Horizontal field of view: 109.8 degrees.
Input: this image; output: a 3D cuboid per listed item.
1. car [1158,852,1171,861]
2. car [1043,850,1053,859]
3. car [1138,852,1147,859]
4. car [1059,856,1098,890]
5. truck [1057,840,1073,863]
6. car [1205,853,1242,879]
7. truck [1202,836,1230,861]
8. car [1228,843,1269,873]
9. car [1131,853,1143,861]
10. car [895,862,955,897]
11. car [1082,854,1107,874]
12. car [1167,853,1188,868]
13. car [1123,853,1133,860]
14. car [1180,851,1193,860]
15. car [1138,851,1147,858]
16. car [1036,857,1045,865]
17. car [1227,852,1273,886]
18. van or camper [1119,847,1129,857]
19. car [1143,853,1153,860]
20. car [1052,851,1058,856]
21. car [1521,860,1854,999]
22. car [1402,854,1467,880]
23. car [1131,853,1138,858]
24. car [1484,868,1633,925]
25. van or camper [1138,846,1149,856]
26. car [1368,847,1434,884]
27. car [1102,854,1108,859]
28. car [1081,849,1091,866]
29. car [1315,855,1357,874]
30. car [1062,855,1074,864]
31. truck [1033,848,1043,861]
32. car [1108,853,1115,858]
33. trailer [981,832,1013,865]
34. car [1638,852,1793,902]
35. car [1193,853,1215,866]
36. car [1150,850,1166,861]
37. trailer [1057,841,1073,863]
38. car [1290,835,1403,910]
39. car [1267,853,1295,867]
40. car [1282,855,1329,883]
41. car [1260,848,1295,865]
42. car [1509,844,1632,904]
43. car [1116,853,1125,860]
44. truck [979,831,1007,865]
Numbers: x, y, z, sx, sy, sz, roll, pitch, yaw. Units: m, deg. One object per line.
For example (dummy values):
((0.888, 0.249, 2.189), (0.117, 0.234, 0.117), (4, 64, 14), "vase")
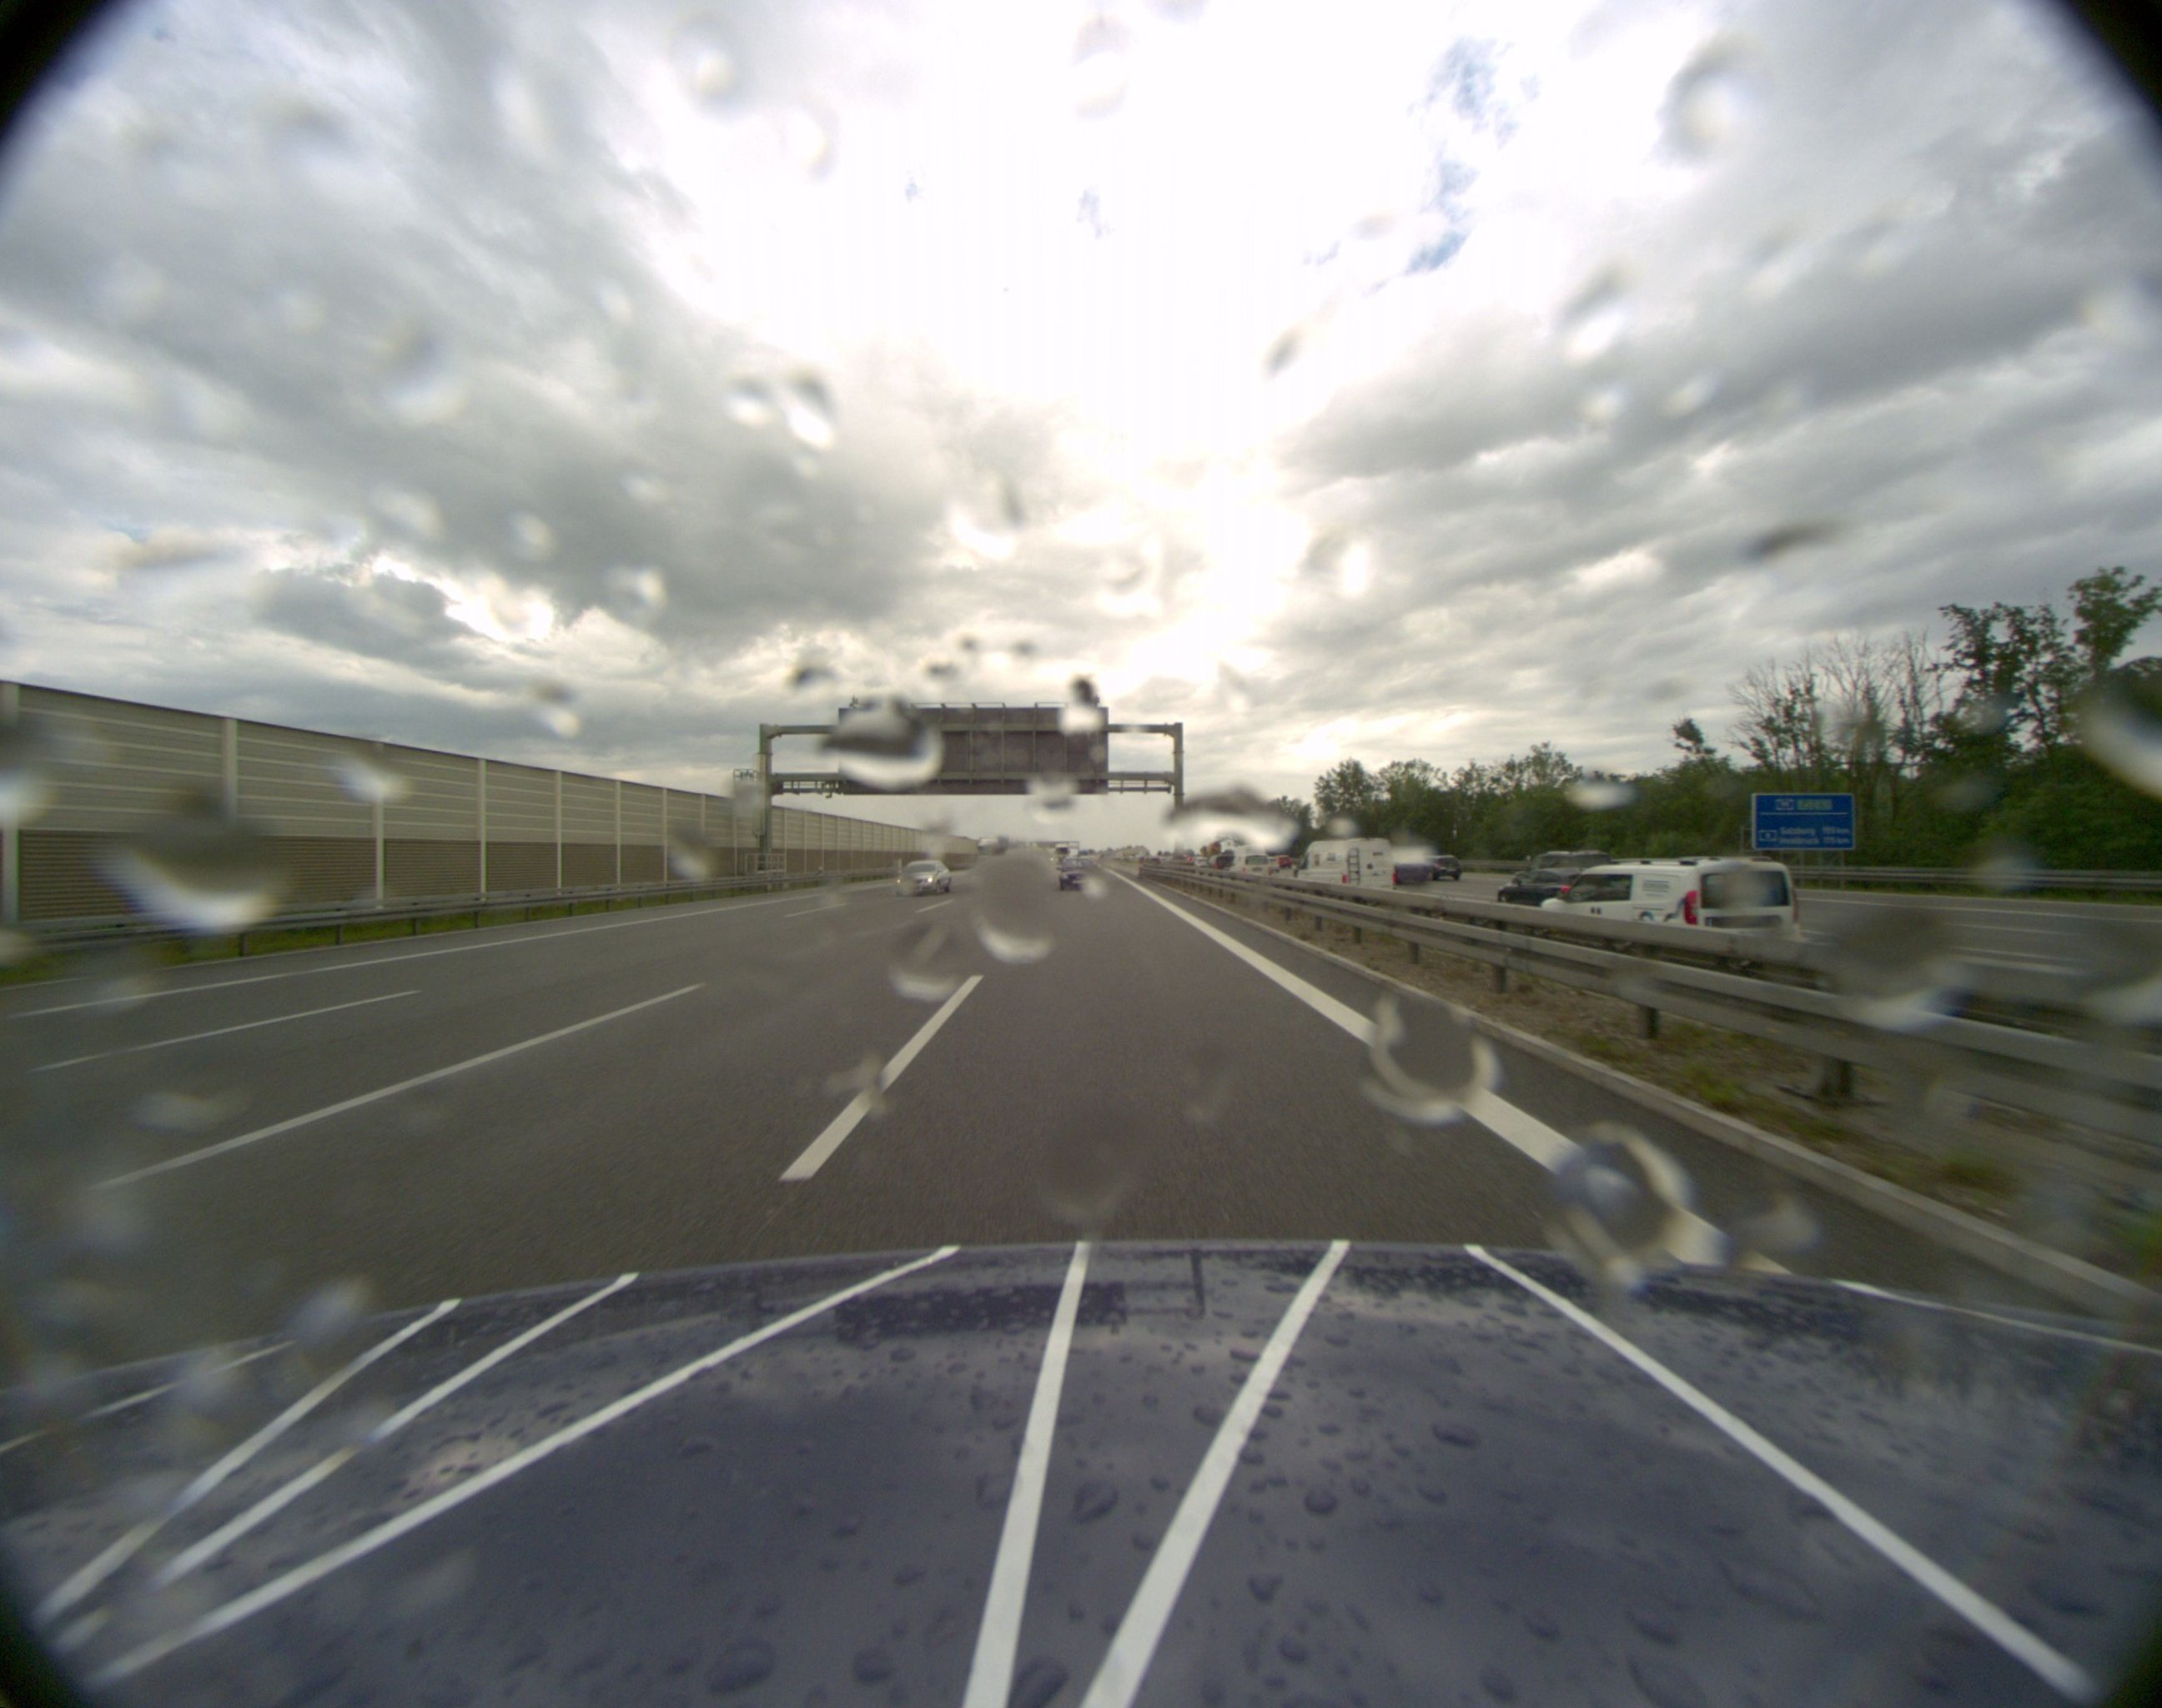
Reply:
((15.098, 0.480, 137.083), (1.727, 1.461, 4.848), (-3, 0, 0), "car")
((-7.895, 0.180, 183.167), (1.998, 2.002, 4.000), (-2, 0, 0), "car")
((14.536, 0.339, 180.155), (1.727, 1.410, 4.201), (0, 0, 0), "car")
((-0.053, 0.825, 34.417), (1.578, 1.394, 4.001), (-1, 0, 2), "car")
((-3.026, -0.436, 145.068), (2.914, 4.145, 5.192), (-3, 0, -1), "truck")
((11.089, 0.913, 59.543), (1.823, 1.893, 5.423), (-1, 0, 0), "car")
((22.777, -0.854, 129.152), (2.923, 3.991, 9.582), (-2, 0, 0), "truck")
((15.325, 0.308, 70.065), (2.054, 2.637, 7.735), (-1, 0, 0), "car")
((10.657, 0.593, 144.567), (1.727, 1.420, 4.648), (-3, 0, -1), "car")
((-6.736, 1.079, 33.194), (1.732, 1.394, 4.000), (-2, 0, 0), "car")
((0.986, 0.751, 57.866), (1.777, 1.451, 4.480), (-2, 0, -1), "car")
((11.404, 0.737, 90.053), (1.727, 1.593, 4.912), (-3, 0, -1), "car")
((10.473, 0.625, 169.384), (1.727, 1.420, 5.230), (-3, 0, 0), "car")
((19.002, 0.268, 136.757), (1.727, 1.593, 4.518), (-3, 0, 0), "car")
((17.740, 0.184, 218.743), (1.692, 1.925, 5.546), (-3, 0, -3), "car")
((-7.422, 1.335, 139.360), (1.698, 1.394, 3.999), (-2, 0, -2), "car")
((10.935, 0.920, 49.582), (1.823, 2.065, 5.374), (-1, 0, 0), "car")
((13.835, -0.604, 245.483), (2.632, 2.934, 7.357), (-3, 0, -1), "van or camper")
((14.713, 0.497, 166.786), (1.727, 1.420, 4.518), (-3, 0, 0), "car")
((-7.761, -0.230, 228.607), (1.698, 1.394, 3.999), (-2, 0, -2), "car")
((10.363, 1.117, 13.699), (1.823, 1.941, 5.222), (-1, 0, 0), "car")
((22.181, 0.771, 47.847), (1.987, 1.486, 4.477), (-1, 0, 0), "car")
((14.740, 0.399, 209.794), (1.727, 1.407, 4.518), (-3, 0, 0), "car")
((14.489, 1.226, 23.410), (1.822, 1.416, 4.478), (-2, 0, 1), "car")
((20.312, -0.854, 246.973), (2.632, 3.104, 8.475), (-3, 0, -1), "van or camper")
((18.671, 0.617, 44.539), (1.987, 2.065, 4.477), (-1, 0, 0), "car")
((8.014, 0.869, 254.402), (1.727, 1.636, 4.518), (-3, 0, 0), "car")
((0.879, 0.681, 142.478), (1.645, 3.041, 4.588), (-2, 0, -1), "car")
((21.942, 0.862, 65.491), (1.987, 1.486, 4.913), (-1, 0, 0), "car")
((-1.975, 0.814, 113.442), (1.498, 1.394, 3.999), (-2, 0, -4), "car")
((-14.218, 0.138, 251.904), (2.600, 4.087, 11.366), (-2, 0, -6), "truck")
((9.219, 0.455, 231.061), (1.727, 1.636, 5.061), (-3, 0, 0), "car")
((-10.793, -0.588, 99.386), (2.768, 4.008, 14.452), (-2, 0, -1), "trailer")
((22.557, 0.744, 27.279), (1.823, 1.598, 4.477), (-1, 0, 0), "car")
((15.289, 0.718, 94.498), (1.727, 1.486, 4.912), (-3, 0, -1), "car")
((11.280, 0.211, 111.799), (1.727, 1.593, 4.913), (-3, 0, 0), "car")
((-3.294, -0.350, 152.044), (2.926, 4.187, 13.195), (-2, 0, -2), "trailer")
((10.565, 0.642, 30.983), (2.029, 2.663, 7.310), (-1, 0, 0), "car")
((22.807, 0.669, 86.803), (1.987, 1.486, 4.913), (-1, 0, 0), "car")
((15.079, 0.960, 51.211), (1.822, 1.668, 4.478), (-2, 0, 1), "car")
((18.368, 0.185, 71.160), (1.987, 1.486, 4.913), (-1, 0, 0), "car")
((18.809, 0.706, 29.459), (1.823, 2.065, 4.477), (-2, 1, 0), "car")
((9.796, 0.637, 188.831), (1.727, 1.636, 4.992), (-3, 0, 0), "car")
((-10.652, -0.698, 92.345), (2.752, 4.011, 5.725), (-2, 0, -1), "truck")
